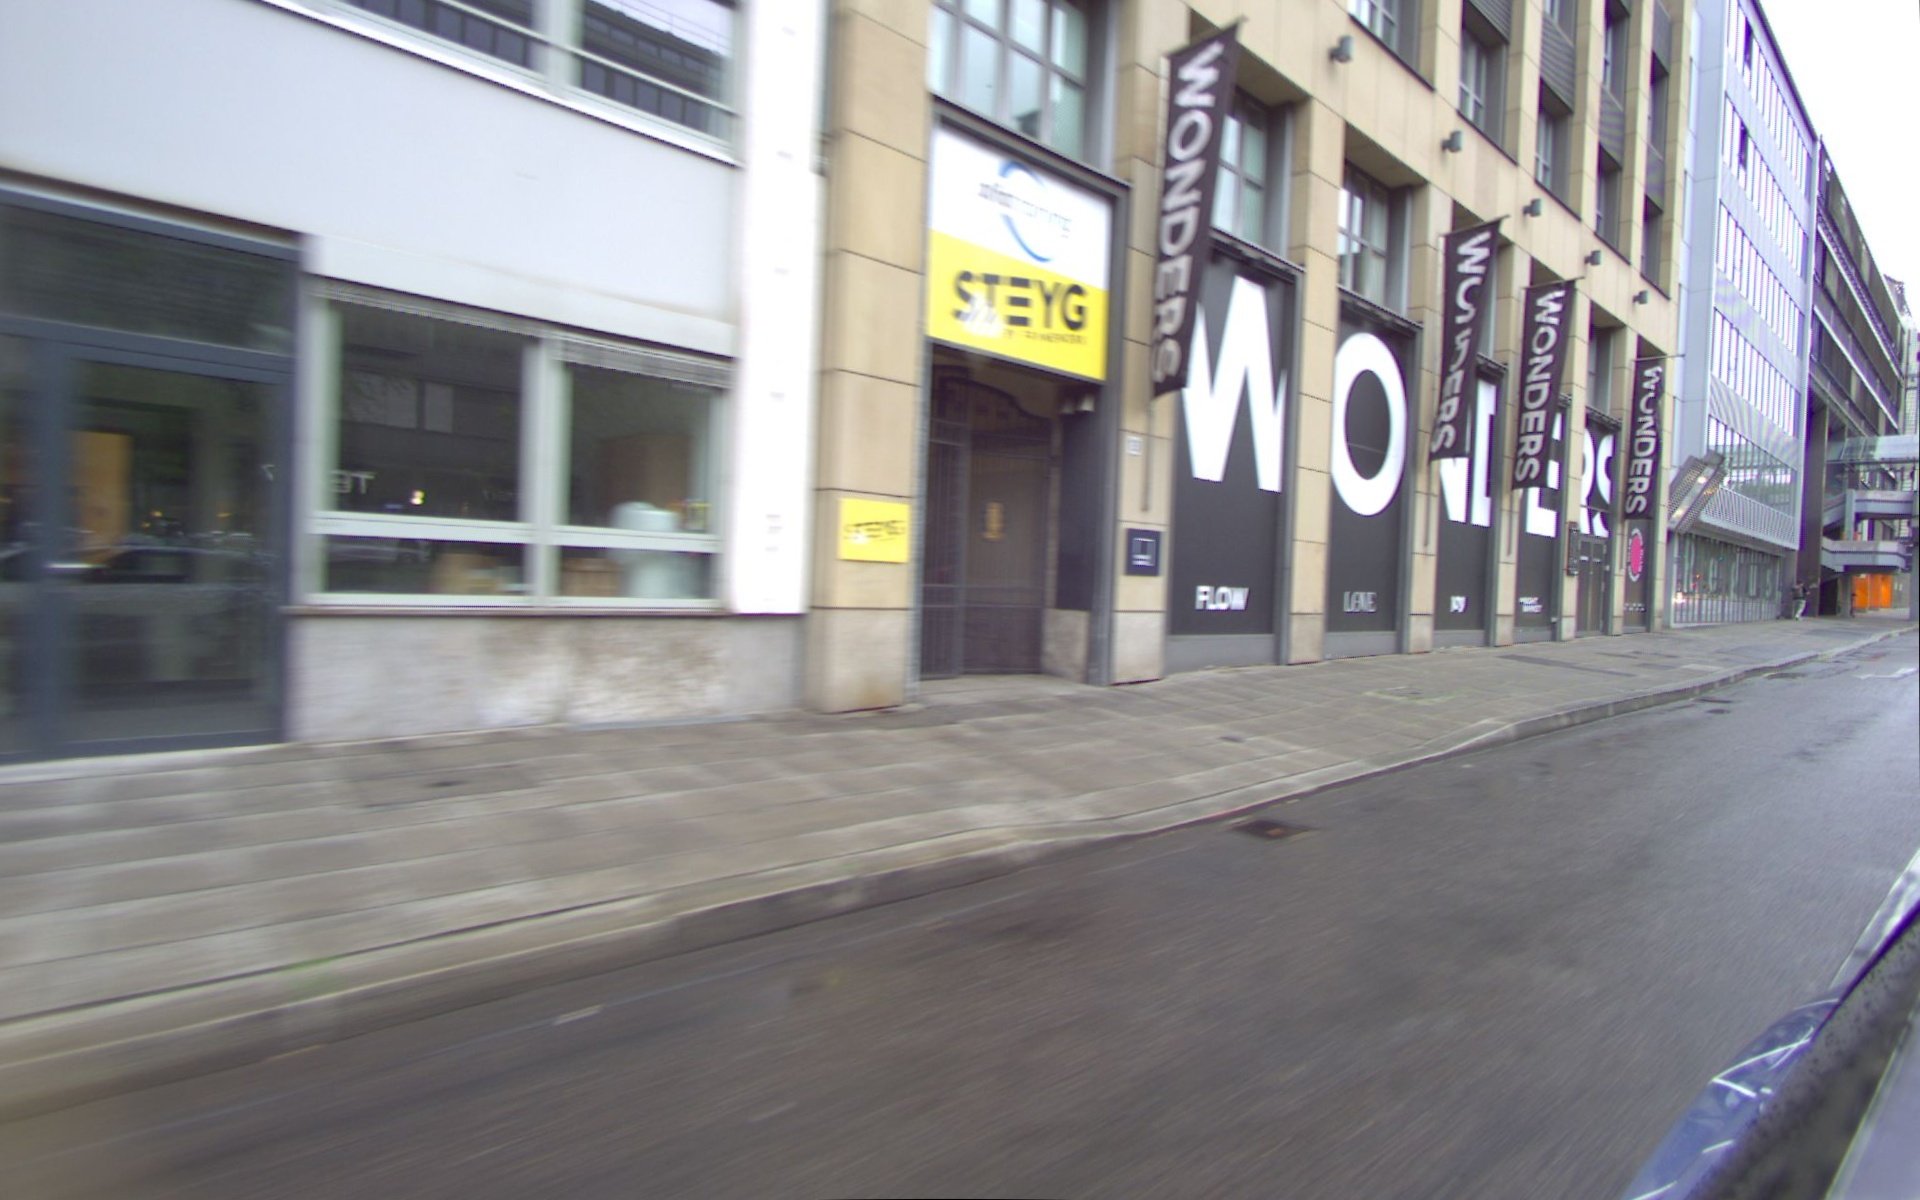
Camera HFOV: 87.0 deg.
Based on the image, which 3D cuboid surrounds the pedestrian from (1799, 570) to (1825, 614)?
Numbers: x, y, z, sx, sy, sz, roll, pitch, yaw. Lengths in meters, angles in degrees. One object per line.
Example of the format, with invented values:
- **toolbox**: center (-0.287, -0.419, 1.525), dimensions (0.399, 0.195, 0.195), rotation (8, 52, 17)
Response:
- **pedestrian**: center (36.443, -0.369, 43.290), dimensions (0.751, 1.855, 0.728), rotation (-1, 2, -42)

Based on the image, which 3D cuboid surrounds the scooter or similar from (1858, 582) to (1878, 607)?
- **scooter or similar**: center (46.446, -0.288, 51.773), dimensions (0.468, 1.289, 1.294), rotation (1, 1, 31)
